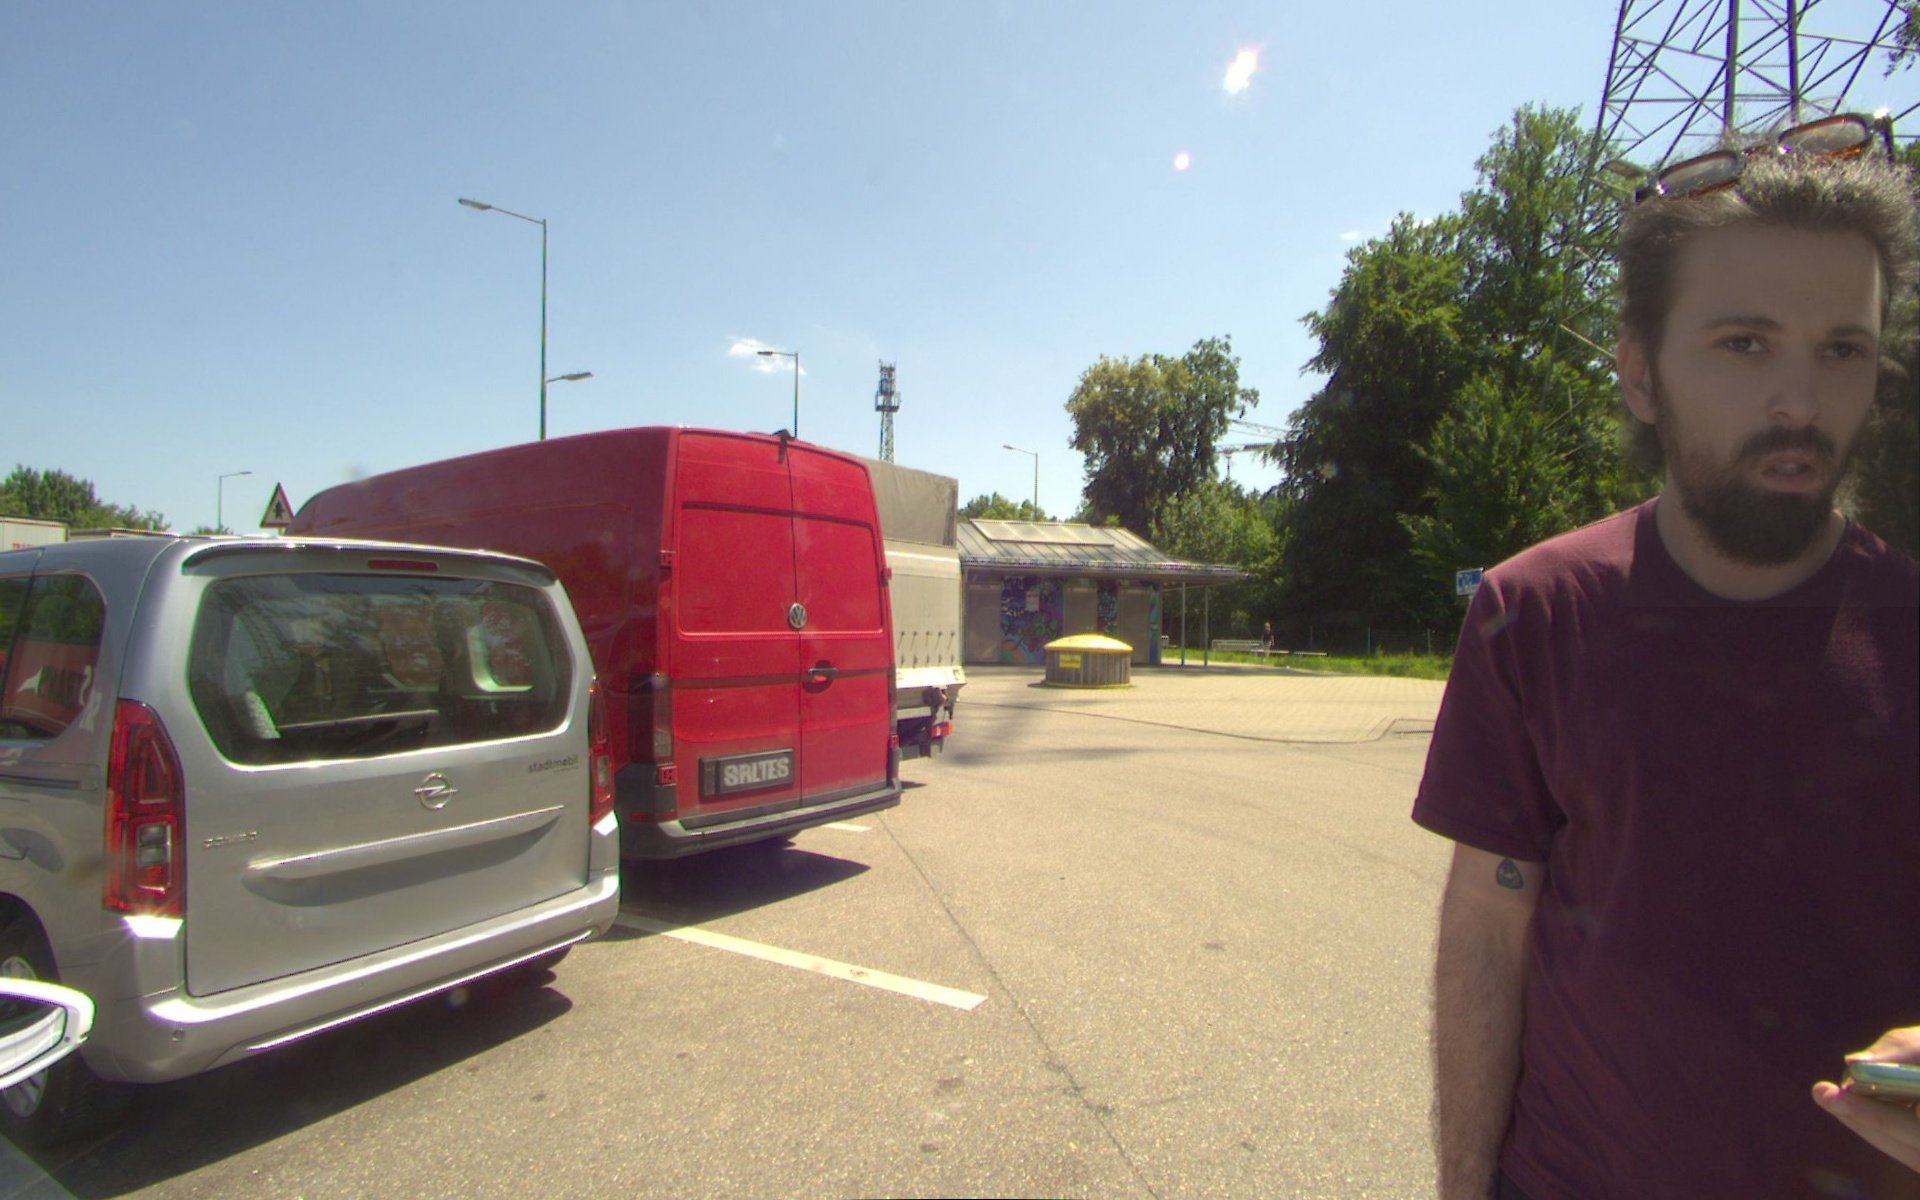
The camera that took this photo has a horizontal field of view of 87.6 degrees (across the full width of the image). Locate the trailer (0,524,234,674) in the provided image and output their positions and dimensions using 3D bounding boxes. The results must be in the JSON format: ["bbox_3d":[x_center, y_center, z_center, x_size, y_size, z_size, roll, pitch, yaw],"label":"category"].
[{"bbox_3d":[-27.954,-0.114,31.783,14.184,4.040,2.808,2,-2,33],"label":"trailer"}]

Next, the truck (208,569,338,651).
[{"bbox_3d":[-32.097,0.450,46.755,5.813,3.566,2.799,2,-2,32],"label":"truck"}]

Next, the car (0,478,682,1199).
[{"bbox_3d":[-3.379,0.680,4.248,4.113,1.887,1.868,1,-2,31],"label":"car"}]

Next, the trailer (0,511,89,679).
[{"bbox_3d":[-29.017,-0.271,28.137,14.184,4.040,2.808,2,-2,33],"label":"trailer"}]

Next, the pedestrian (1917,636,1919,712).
[{"bbox_3d":[17.259,1.310,17.479,0.690,1.352,0.561,-1,-1,33],"label":"pedestrian"}]

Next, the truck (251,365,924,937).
[{"bbox_3d":[-2.887,0.330,7.047,5.238,2.655,1.972,-2,-2,38],"label":"truck"}]

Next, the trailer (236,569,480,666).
[{"bbox_3d":[-26.101,0.630,42.899,14.184,3.552,2.808,2,-2,33],"label":"trailer"}]

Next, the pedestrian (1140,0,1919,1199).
[{"bbox_3d":[0.744,0.550,0.829,0.852,1.857,0.857,-1,-2,42],"label":"pedestrian"}]

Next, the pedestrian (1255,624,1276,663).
[{"bbox_3d":[13.223,1.870,43.339,0.726,1.658,0.789,-1,-1,29],"label":"pedestrian"}]

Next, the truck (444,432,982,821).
[{"bbox_3d":[-2.736,0.296,10.286,5.581,2.949,2.449,-2,-2,37],"label":"truck"}]
